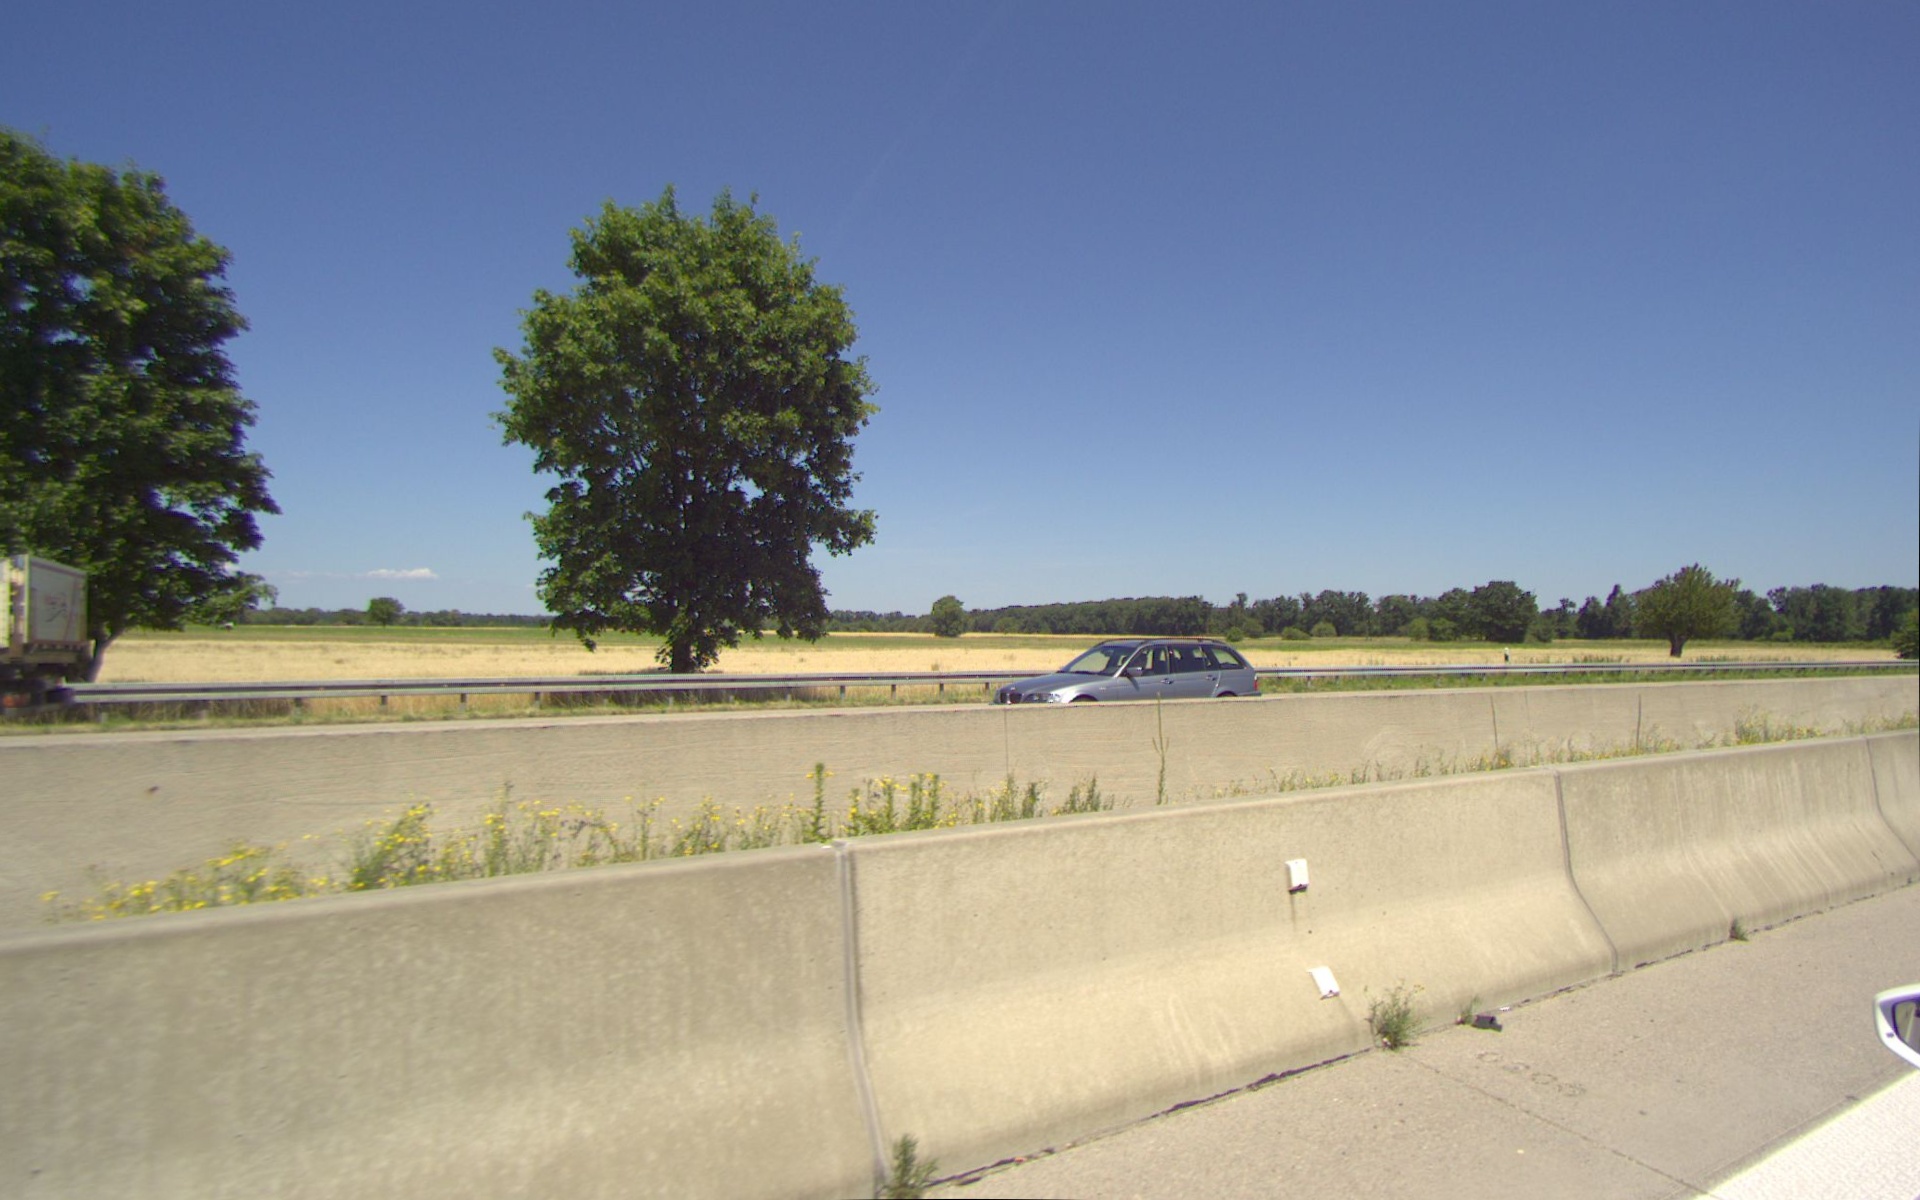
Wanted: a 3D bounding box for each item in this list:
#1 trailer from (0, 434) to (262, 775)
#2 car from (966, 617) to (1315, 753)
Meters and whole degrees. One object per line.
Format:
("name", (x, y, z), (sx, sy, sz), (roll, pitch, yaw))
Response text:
("trailer", (-15.261, -0.066, 9.806), (13.588, 3.733, 2.790), (2, 0, -30))
("car", (2.789, 1.183, 15.204), (5.062, 1.740, 1.956), (1, 0, -28))
